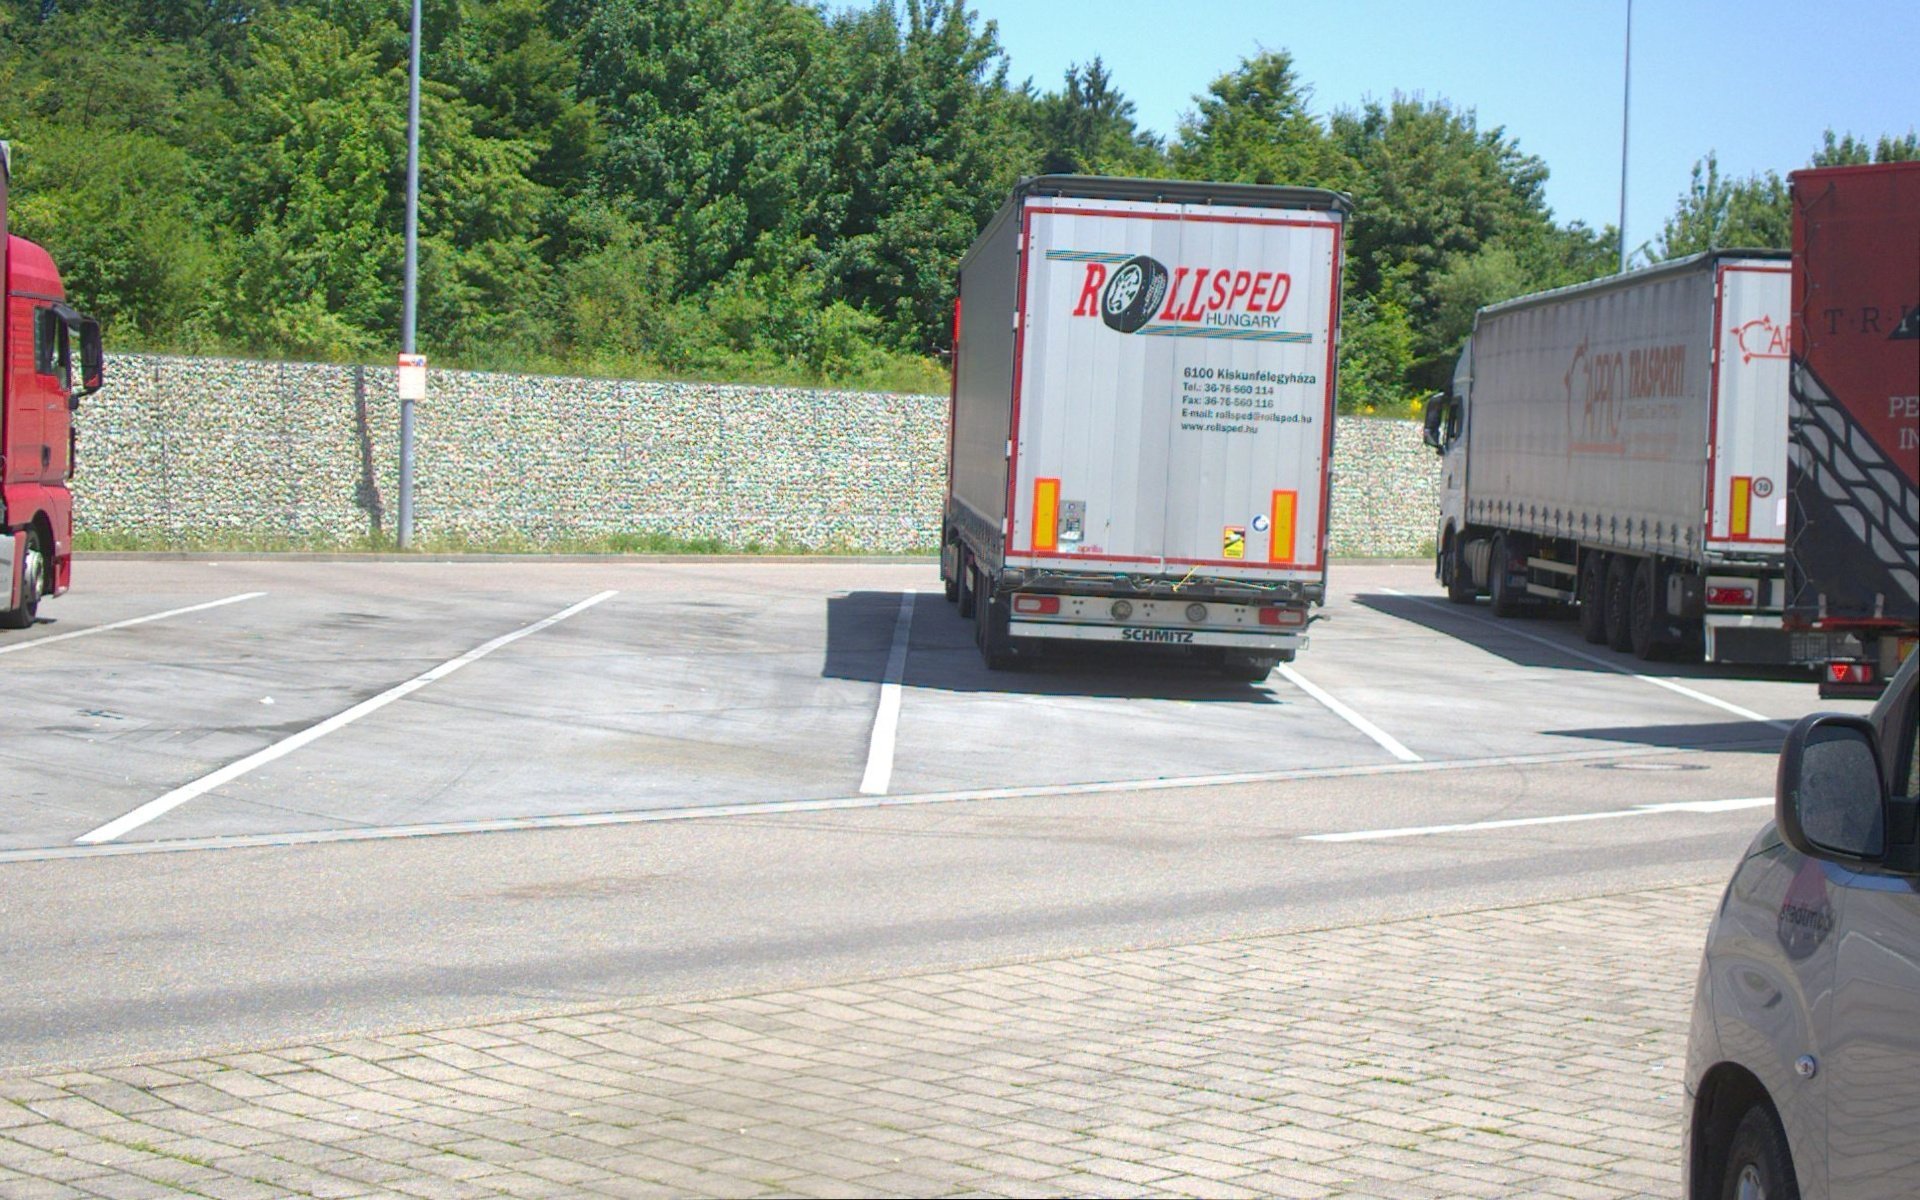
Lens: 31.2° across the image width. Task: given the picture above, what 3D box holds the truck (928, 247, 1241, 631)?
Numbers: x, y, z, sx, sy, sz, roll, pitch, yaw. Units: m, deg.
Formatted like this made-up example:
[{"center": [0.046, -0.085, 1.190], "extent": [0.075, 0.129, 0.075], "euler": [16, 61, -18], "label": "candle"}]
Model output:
[{"center": [1.267, -1.853, 39.395], "extent": [3.026, 3.915, 6.847], "euler": [2, 3, -2], "label": "truck"}]

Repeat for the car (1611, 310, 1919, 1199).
[{"center": [2.142, 0.540, 3.784], "extent": [1.825, 1.747, 4.001], "euler": [1, 2, -4], "label": "car"}]

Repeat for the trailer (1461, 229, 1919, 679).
[{"center": [8.144, -1.570, 38.464], "extent": [2.876, 4.110, 13.572], "euler": [1, 2, -1], "label": "trailer"}]

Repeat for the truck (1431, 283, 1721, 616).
[{"center": [8.030, -1.955, 45.461], "extent": [2.757, 4.110, 5.285], "euler": [1, 2, -1], "label": "truck"}]

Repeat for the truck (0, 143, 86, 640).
[{"center": [-9.227, -1.701, 27.644], "extent": [2.743, 4.067, 6.830], "euler": [1, 2, -1], "label": "truck"}]

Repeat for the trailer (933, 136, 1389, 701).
[{"center": [1.482, -1.695, 32.627], "extent": [3.069, 4.213, 12.810], "euler": [2, 3, -2], "label": "trailer"}]

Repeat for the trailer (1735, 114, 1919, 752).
[{"center": [9.475, -1.173, 25.898], "extent": [2.841, 4.243, 8.662], "euler": [2, 3, 45], "label": "trailer"}]
